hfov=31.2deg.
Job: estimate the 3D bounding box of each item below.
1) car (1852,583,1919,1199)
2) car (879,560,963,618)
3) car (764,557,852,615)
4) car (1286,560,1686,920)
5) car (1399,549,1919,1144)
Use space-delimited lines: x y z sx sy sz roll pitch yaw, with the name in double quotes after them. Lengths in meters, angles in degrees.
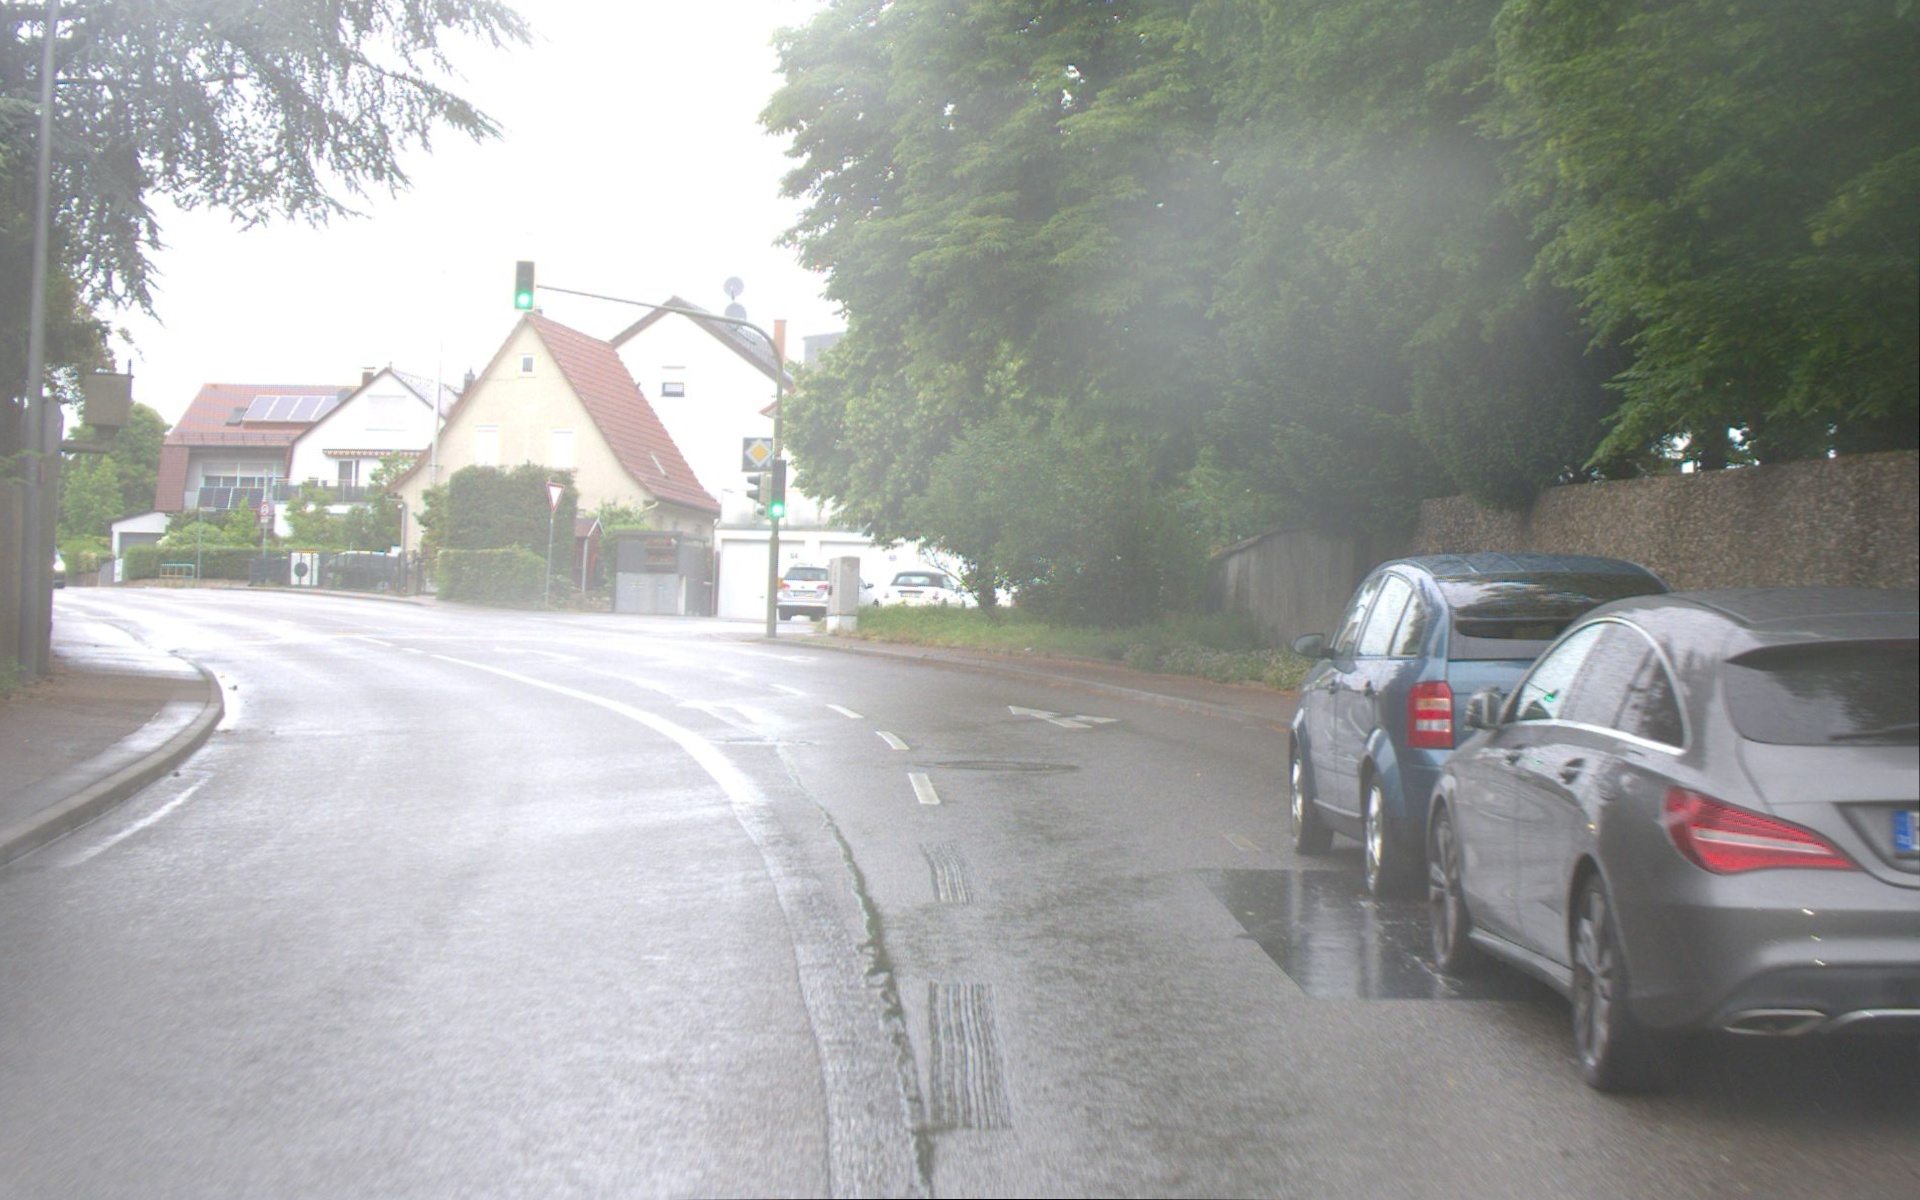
2.677 0.738 5.148 1.647 1.492 3.709 2 0 -1 "car"
-0.993 -0.299 89.682 1.907 1.437 4.000 1 1 3 "car"
-3.970 -0.385 90.111 1.907 1.437 4.000 1 1 3 "car"
2.410 0.603 16.383 1.302 1.492 3.364 2 0 -1 "car"
2.536 0.650 10.896 1.647 1.492 4.246 2 0 -1 "car"
